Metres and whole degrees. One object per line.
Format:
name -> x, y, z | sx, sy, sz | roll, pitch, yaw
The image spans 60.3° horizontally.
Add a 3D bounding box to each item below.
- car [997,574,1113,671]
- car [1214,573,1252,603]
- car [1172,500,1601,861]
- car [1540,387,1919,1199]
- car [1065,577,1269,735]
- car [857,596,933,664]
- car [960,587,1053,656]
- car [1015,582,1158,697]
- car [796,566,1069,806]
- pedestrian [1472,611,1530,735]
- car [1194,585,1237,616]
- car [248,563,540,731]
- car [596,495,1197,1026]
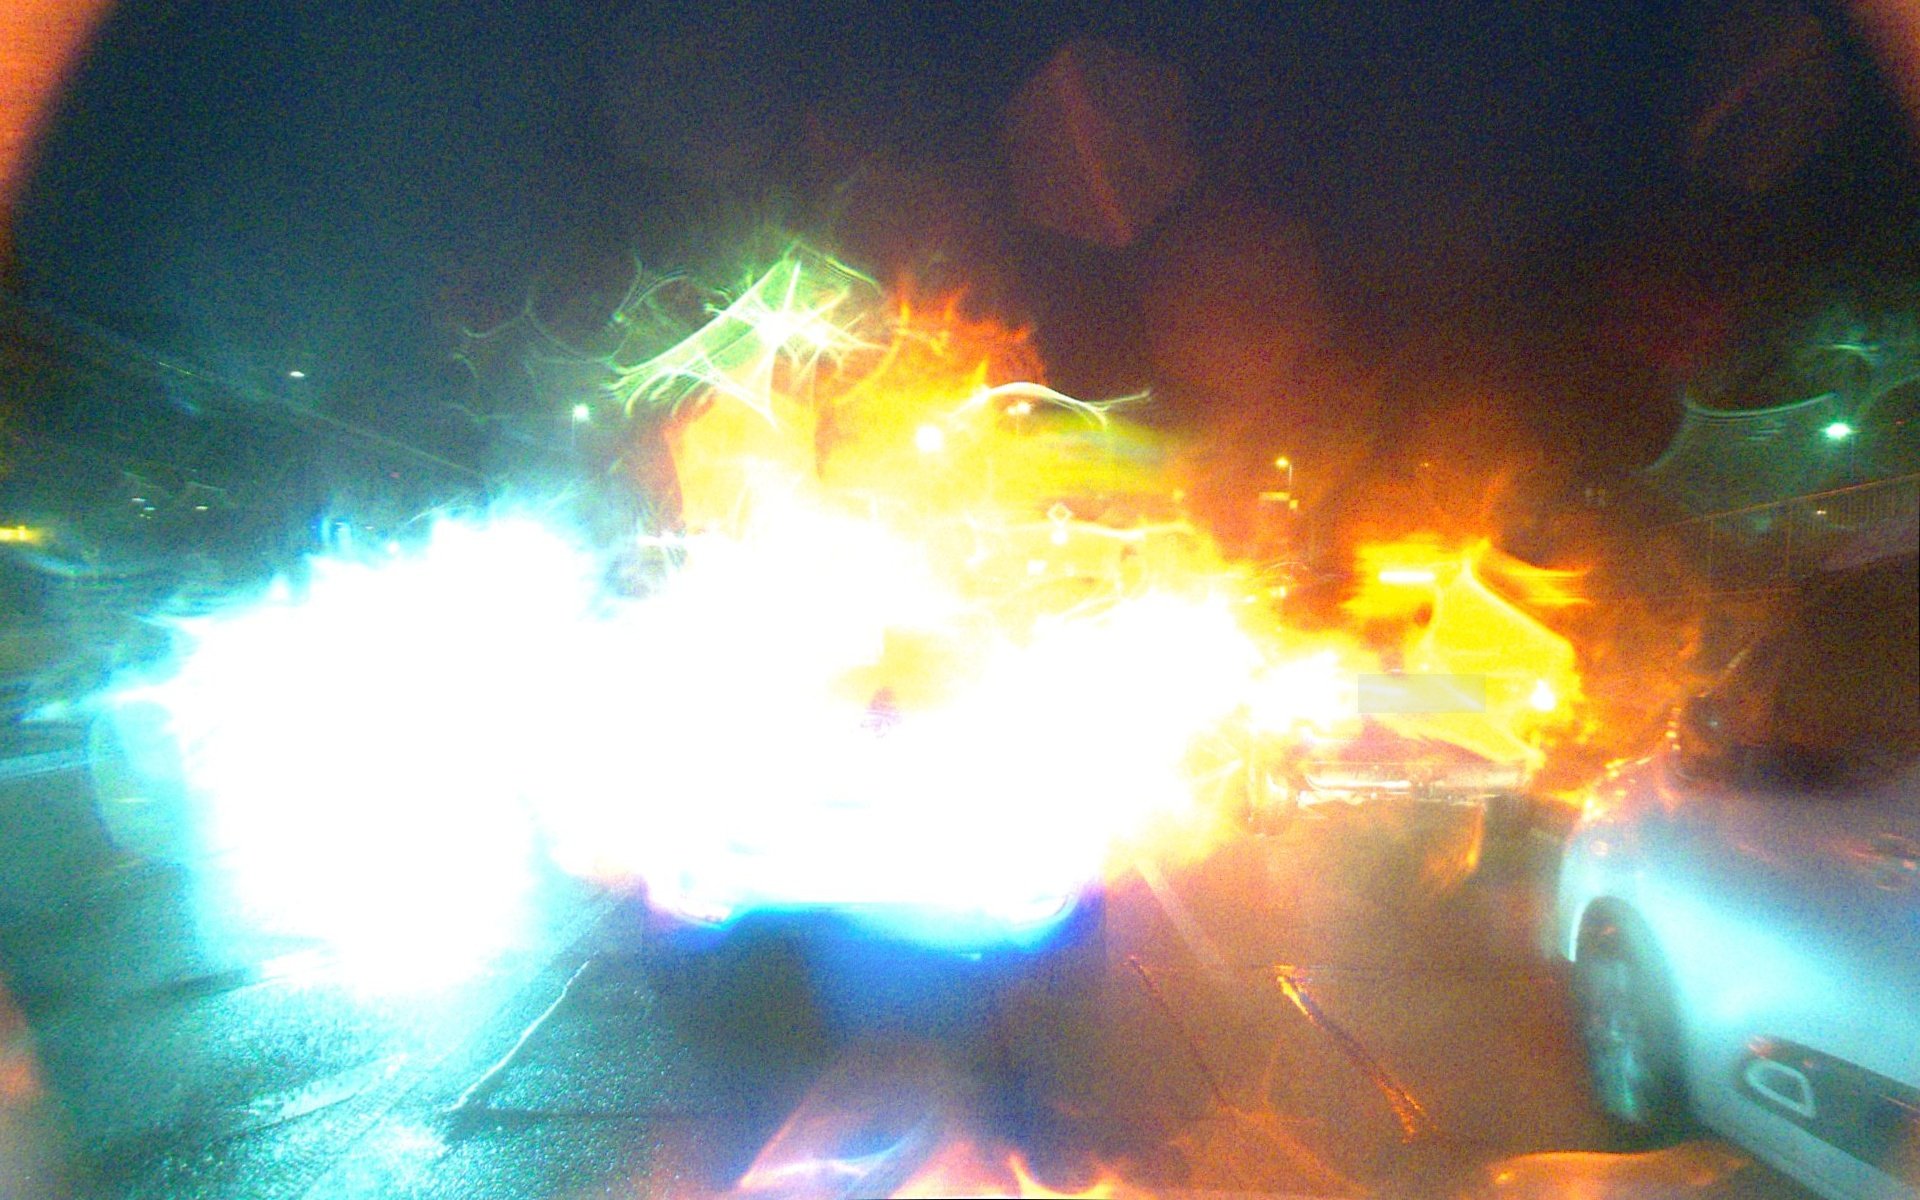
car -> 1.856, 0.438, 33.515 | 1.953, 1.804, 3.998 | 1, 0, -2
car -> 19.072, -0.802, 115.741 | 1.953, 2.049, 3.999 | 1, 0, -1
car -> 2.760, 0.484, 11.702 | 1.929, 2.082, 3.999 | 1, 0, -1
car -> 2.768, 0.549, 3.026 | 1.814, 1.897, 4.339 | 1, 0, -1
car -> 2.449, 0.637, 20.566 | 1.953, 1.748, 3.999 | 1, 0, -1
car -> -1.928, 0.844, 47.926 | 1.955, 1.856, 3.995 | 1, 0, -6
car -> 1.083, 0.506, 40.581 | 1.821, 1.571, 3.926 | 1, 0, -5
car -> 1.991, 0.607, 27.098 | 1.953, 1.699, 3.999 | 1, 0, -1
car -> -0.232, 0.633, 14.008 | 1.953, 1.713, 3.999 | 1, 0, -1
pedestrian -> 7.690, 1.031, 23.531 | 0.610, 1.731, 0.540 | 1, -1, -4
car -> 14.578, 0.052, 94.540 | 1.827, 1.675, 3.962 | -2, 0, -1
car -> -6.065, 0.411, 18.321 | 1.850, 1.595, 4.484 | 0, 2, -2
car -> -0.306, 0.551, 7.744 | 1.974, 1.747, 4.449 | 1, 0, -3
